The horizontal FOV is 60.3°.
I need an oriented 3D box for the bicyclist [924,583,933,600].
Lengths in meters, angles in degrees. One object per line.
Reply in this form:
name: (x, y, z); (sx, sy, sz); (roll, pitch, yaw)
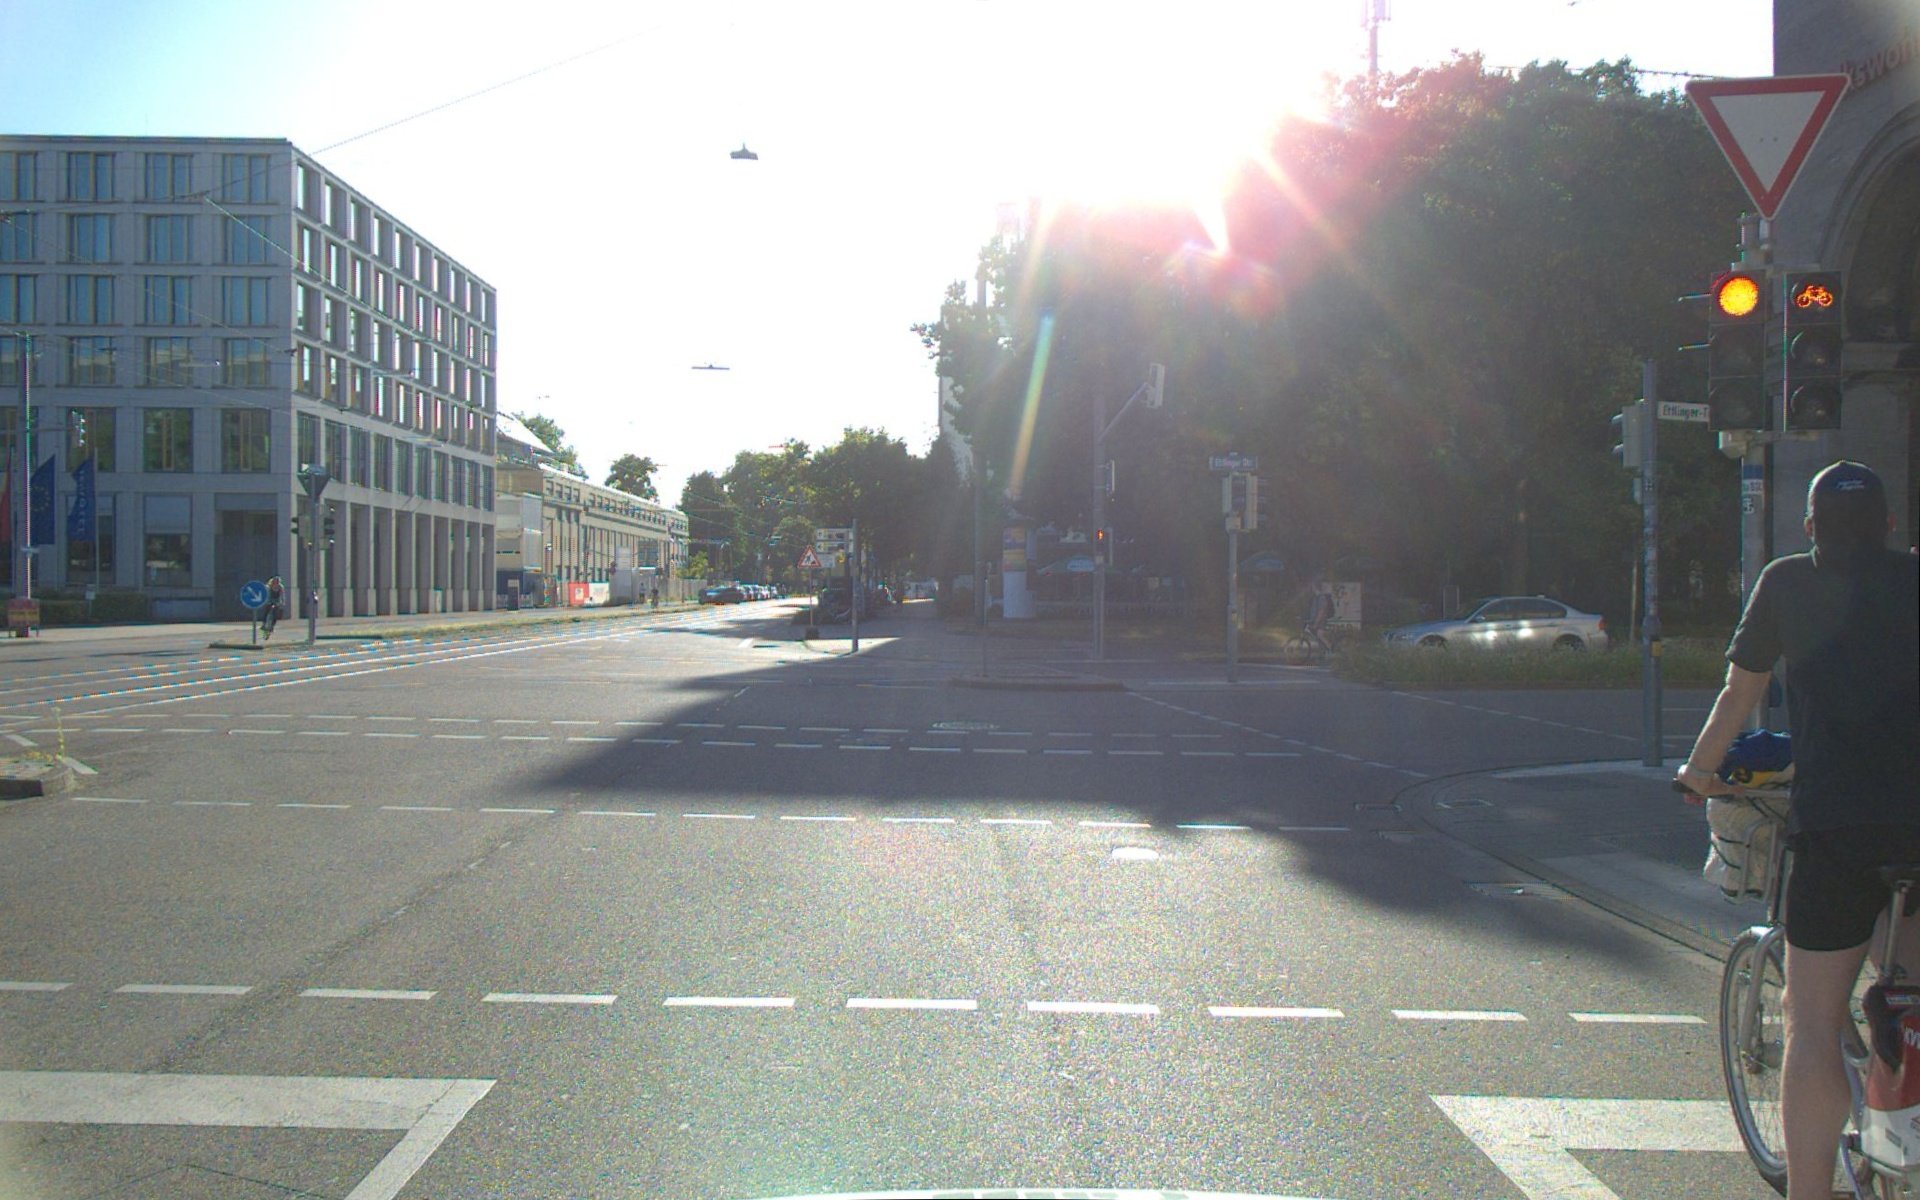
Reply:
bicyclist: (-3.661, -0.977, 190.745); (0.875, 2.049, 0.746); (1, -1, -12)

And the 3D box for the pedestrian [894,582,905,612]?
pedestrian: (-3.562, -0.170, 97.624); (0.566, 1.719, 0.584); (0, 0, -8)

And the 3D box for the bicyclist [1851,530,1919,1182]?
bicyclist: (2.886, 0.693, 4.347); (0.572, 1.769, 0.950); (0, 0, 0)

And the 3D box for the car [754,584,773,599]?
car: (-23.060, -1.014, 194.348); (1.954, 1.673, 3.997); (0, 0, -4)

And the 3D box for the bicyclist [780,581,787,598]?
bicyclist: (-20.372, -1.160, 190.809); (0.735, 1.953, 1.214); (1, 0, -2)

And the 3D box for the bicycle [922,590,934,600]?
bicycle: (-3.709, -0.573, 190.945); (0.875, 1.240, 2.785); (1, 0, -12)

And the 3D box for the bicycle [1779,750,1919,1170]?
bicycle: (2.887, 1.014, 4.382); (0.570, 1.062, 1.747); (0, 0, 0)

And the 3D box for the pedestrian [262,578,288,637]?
pedestrian: (-19.048, 0.208, 45.988); (0.566, 1.623, 0.736); (0, 0, -32)

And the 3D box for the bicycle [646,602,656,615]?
bicycle: (-21.542, 0.581, 115.253); (0.484, 0.854, 1.156); (-1, 0, 2)

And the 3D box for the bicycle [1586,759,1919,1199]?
bicycle: (2.140, 0.997, 3.906); (0.610, 1.062, 1.746); (0, 0, -2)

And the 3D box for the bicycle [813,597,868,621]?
bicycle: (-4.848, 0.347, 67.134); (2.201, 0.956, 0.653); (0, 0, -6)

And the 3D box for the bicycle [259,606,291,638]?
bicycle: (-19.067, 0.605, 46.030); (0.566, 0.837, 1.700); (0, 0, -31)

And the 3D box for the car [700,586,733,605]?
car: (-20.998, -0.422, 142.744); (1.951, 1.627, 4.002); (0, 0, 4)

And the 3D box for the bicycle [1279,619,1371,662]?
bicycle: (8.037, 0.880, 36.478); (1.902, 0.905, 0.718); (1, 0, 5)

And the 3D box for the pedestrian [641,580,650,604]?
pedestrian: (-25.507, -0.636, 134.182); (0.575, 1.922, 0.478); (1, -1, 20)

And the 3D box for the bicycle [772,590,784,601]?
bicycle: (-20.421, -0.537, 185.863); (0.735, 1.226, 3.109); (1, 0, 5)

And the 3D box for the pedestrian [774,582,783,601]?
pedestrian: (-20.403, -0.989, 185.953); (0.735, 2.099, 1.050); (1, -1, 5)

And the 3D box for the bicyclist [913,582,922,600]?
bicyclist: (-4.847, -0.999, 190.525); (0.875, 2.049, 0.746); (1, -1, -12)

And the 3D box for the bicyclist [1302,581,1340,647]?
bicyclist: (7.958, 0.305, 36.485); (0.731, 1.431, 0.702); (1, -1, 6)

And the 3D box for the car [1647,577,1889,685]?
car: (16.231, 0.610, 33.373); (3.905, 2.049, 2.000); (1, 0, 0)

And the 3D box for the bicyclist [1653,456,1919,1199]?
bicyclist: (2.144, 0.570, 3.894); (0.610, 1.745, 0.912); (0, 0, -2)

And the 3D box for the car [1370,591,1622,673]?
car: (10.852, 0.630, 33.718); (4.483, 1.543, 2.000); (1, 0, -1)

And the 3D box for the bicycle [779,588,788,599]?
bicycle: (-20.388, -0.779, 190.925); (0.735, 1.226, 3.107); (1, 0, -2)
